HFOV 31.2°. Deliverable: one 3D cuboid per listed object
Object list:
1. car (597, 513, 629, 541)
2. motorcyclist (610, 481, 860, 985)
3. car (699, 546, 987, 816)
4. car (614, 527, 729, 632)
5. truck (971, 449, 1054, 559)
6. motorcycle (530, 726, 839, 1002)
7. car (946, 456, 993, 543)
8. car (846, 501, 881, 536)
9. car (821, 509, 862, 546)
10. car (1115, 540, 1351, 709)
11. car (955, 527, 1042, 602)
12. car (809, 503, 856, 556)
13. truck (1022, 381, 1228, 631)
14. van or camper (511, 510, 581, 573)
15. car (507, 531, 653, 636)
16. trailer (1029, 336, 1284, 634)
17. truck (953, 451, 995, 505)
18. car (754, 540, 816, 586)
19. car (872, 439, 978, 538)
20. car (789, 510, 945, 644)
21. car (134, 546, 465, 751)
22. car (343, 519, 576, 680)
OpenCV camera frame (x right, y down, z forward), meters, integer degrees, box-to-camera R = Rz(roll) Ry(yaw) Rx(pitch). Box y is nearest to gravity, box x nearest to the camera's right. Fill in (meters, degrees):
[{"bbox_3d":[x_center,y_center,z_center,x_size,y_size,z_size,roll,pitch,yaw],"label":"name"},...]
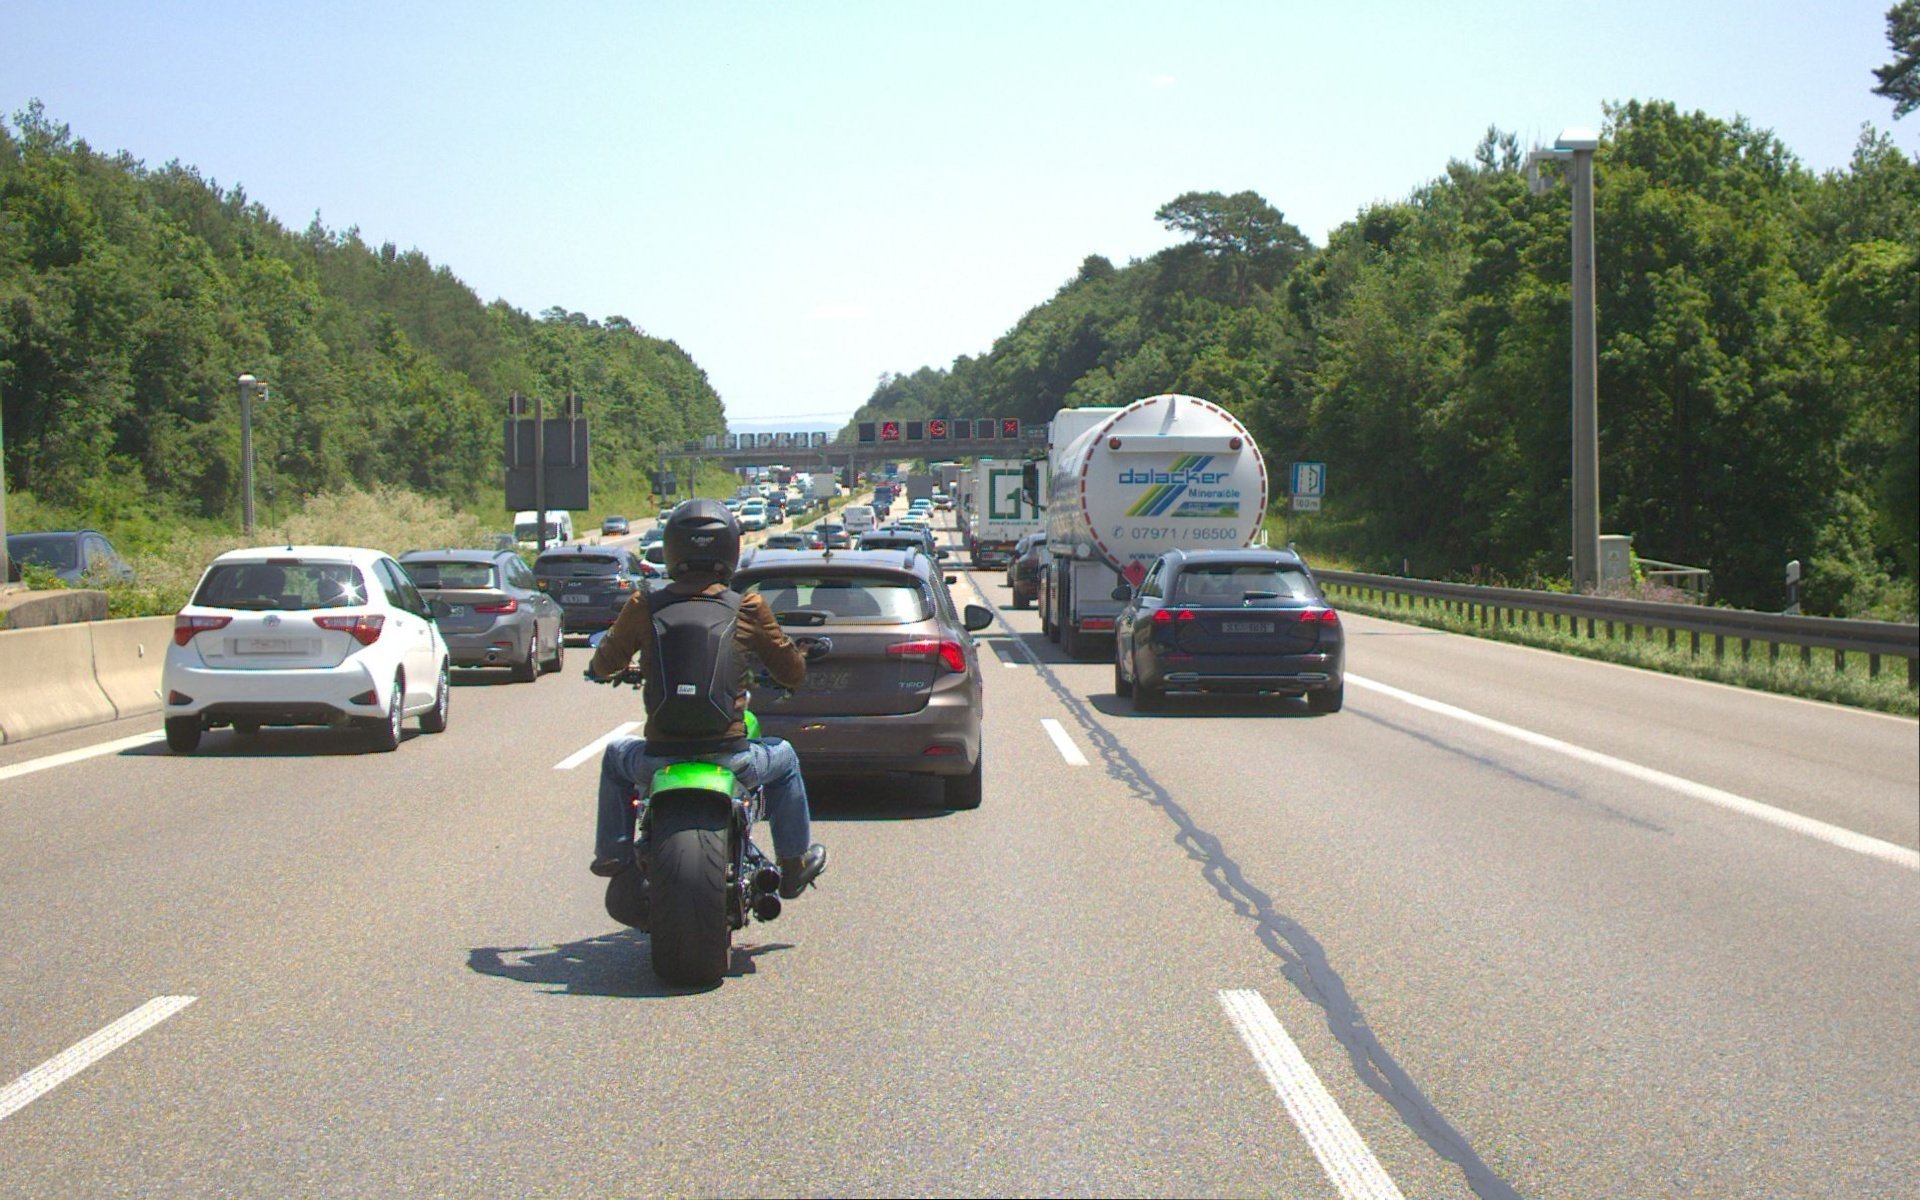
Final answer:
[{"bbox_3d":[-25.517,-5.359,253.003,1.993,2.007,4.000,0,1,-1],"label":"car"},{"bbox_3d":[-0.769,0.449,12.046,0.799,1.682,1.016,1,0,0],"label":"motorcyclist"},{"bbox_3d":[-0.649,0.417,20.563,1.541,1.445,4.000,1,1,0],"label":"car"},{"bbox_3d":[-5.731,-0.393,68.657,1.993,2.007,4.000,1,0,-1],"label":"car"},{"bbox_3d":[1.987,-3.508,127.482,2.854,3.808,7.187,1,0,2],"label":"truck"},{"bbox_3d":[-0.937,0.902,12.329,0.936,0.790,2.299,1,0,0],"label":"motorcycle"},{"bbox_3d":[0.428,-4.788,166.409,2.167,3.879,9.330,1,0,0],"label":"car"},{"bbox_3d":[-5.767,-4.880,206.470,1.993,2.007,4.000,-1,0,0],"label":"car"},{"bbox_3d":[-5.234,-3.194,152.260,1.660,1.594,4.000,0,0,0],"label":"car"},{"bbox_3d":[2.469,0.223,32.113,1.792,1.453,4.624,1,0,0],"label":"car"},{"bbox_3d":[0.803,-0.732,73.499,1.776,1.522,4.000,1,0,0],"label":"car"},{"bbox_3d":[-4.908,-2.702,132.795,1.660,1.971,4.000,0,0,0],"label":"car"},{"bbox_3d":[2.486,-1.369,53.847,2.828,3.658,6.429,1,0,0],"label":"truck"},{"bbox_3d":[-17.002,-2.372,141.469,2.152,2.414,6.196,1,0,-1],"label":"van or camper"},{"bbox_3d":[-5.557,-0.227,50.659,1.993,1.459,4.000,1,0,-4],"label":"car"},{"bbox_3d":[2.537,-1.398,47.891,2.828,3.658,10.732,1,0,0],"label":"trailer"},{"bbox_3d":[0.915,-8.256,233.909,2.696,3.394,10.478,-1,0,0],"label":"truck"},{"bbox_3d":[-5.592,-1.188,110.313,1.764,1.437,4.000,0,1,0],"label":"car"},{"bbox_3d":[-0.705,-2.138,66.800,1.993,1.769,4.000,1,0,-1],"label":"car"},{"bbox_3d":[-1.239,-0.286,46.114,1.993,1.705,4.000,1,0,-1],"label":"car"},{"bbox_3d":[-4.941,0.310,26.216,1.776,1.406,4.000,1,1,0],"label":"car"},{"bbox_3d":[-5.523,0.001,38.425,1.993,1.678,4.330,1,0,0],"label":"car"}]
